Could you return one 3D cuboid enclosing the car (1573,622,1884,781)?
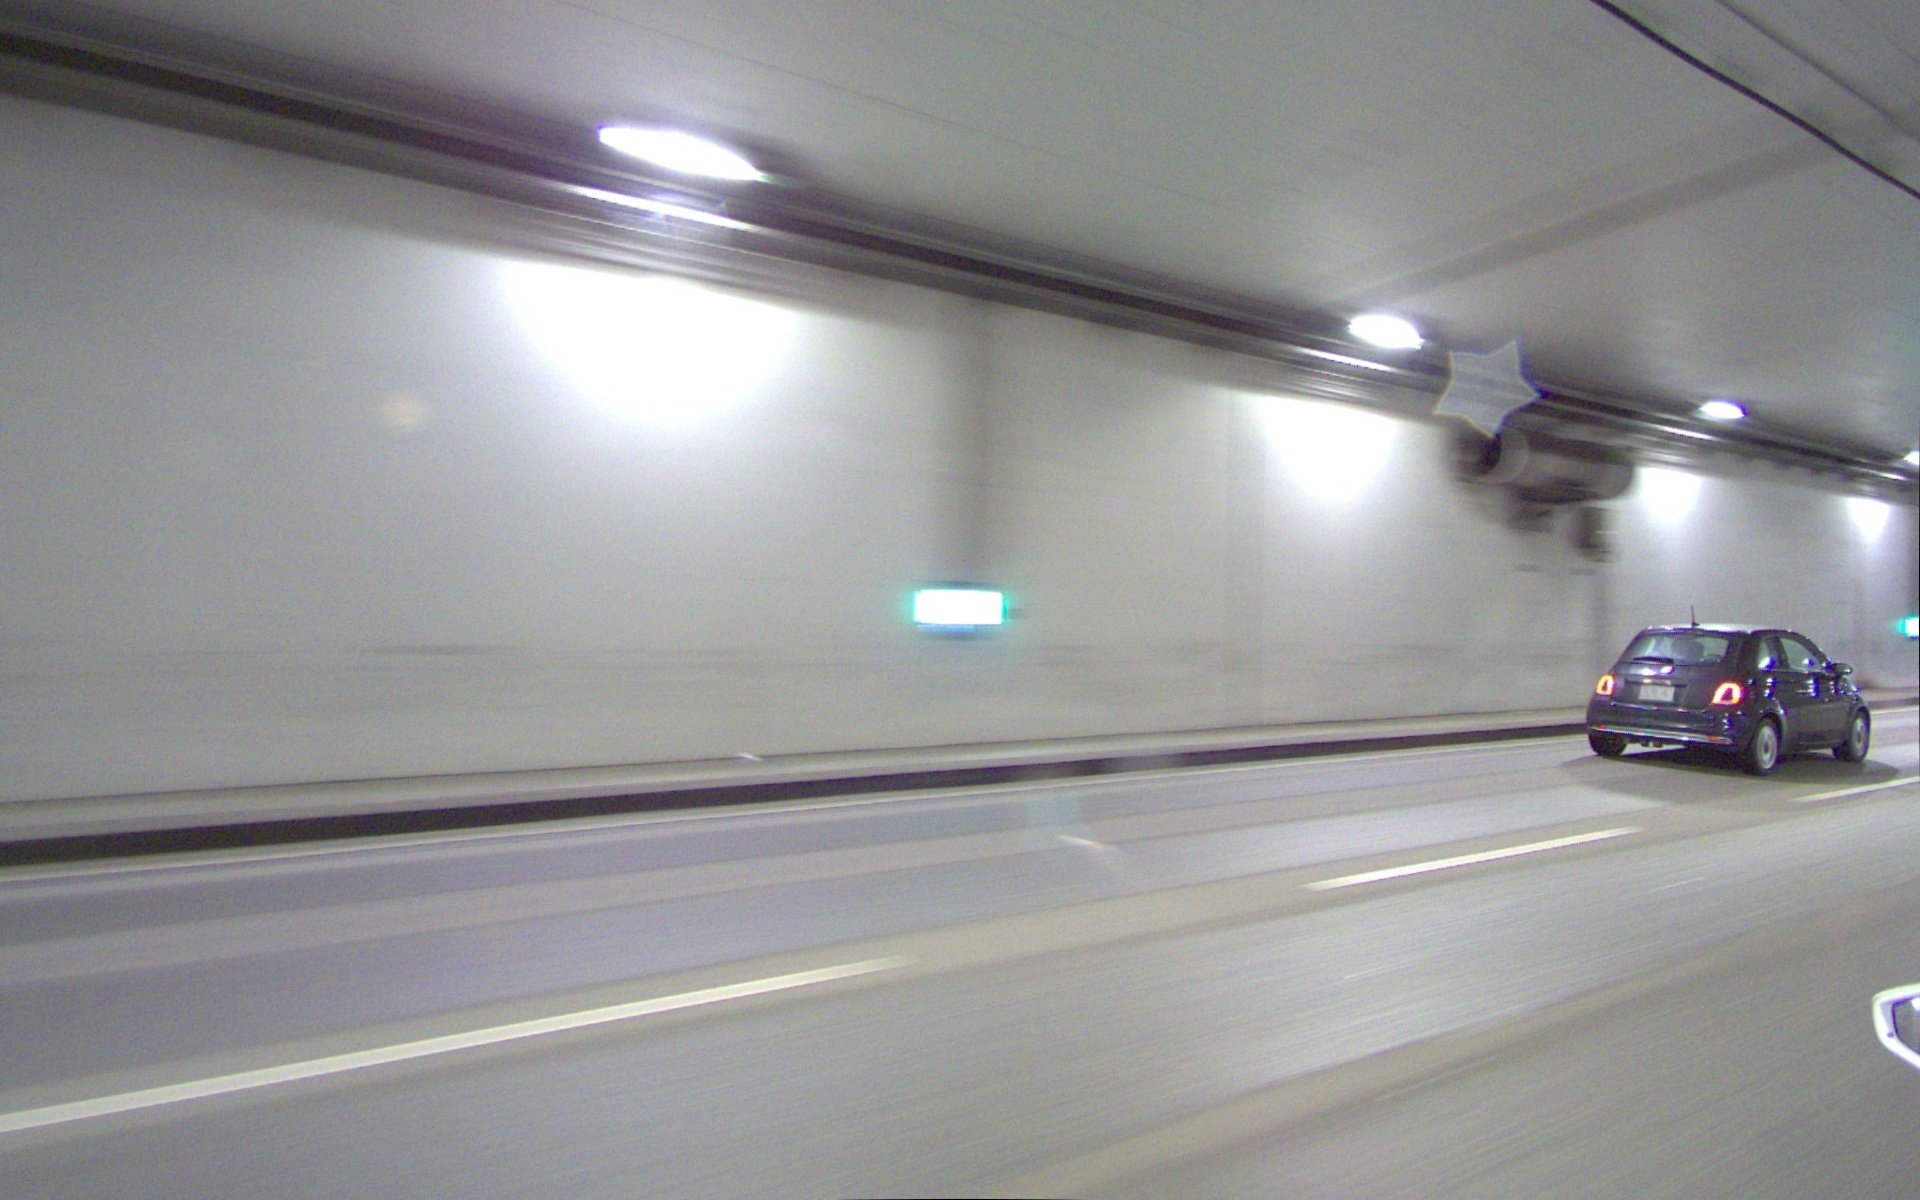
[{"bbox_3d":[8.521,1.004,11.089,3.533,1.473,1.603,1,-1,-32],"label":"car"}]
